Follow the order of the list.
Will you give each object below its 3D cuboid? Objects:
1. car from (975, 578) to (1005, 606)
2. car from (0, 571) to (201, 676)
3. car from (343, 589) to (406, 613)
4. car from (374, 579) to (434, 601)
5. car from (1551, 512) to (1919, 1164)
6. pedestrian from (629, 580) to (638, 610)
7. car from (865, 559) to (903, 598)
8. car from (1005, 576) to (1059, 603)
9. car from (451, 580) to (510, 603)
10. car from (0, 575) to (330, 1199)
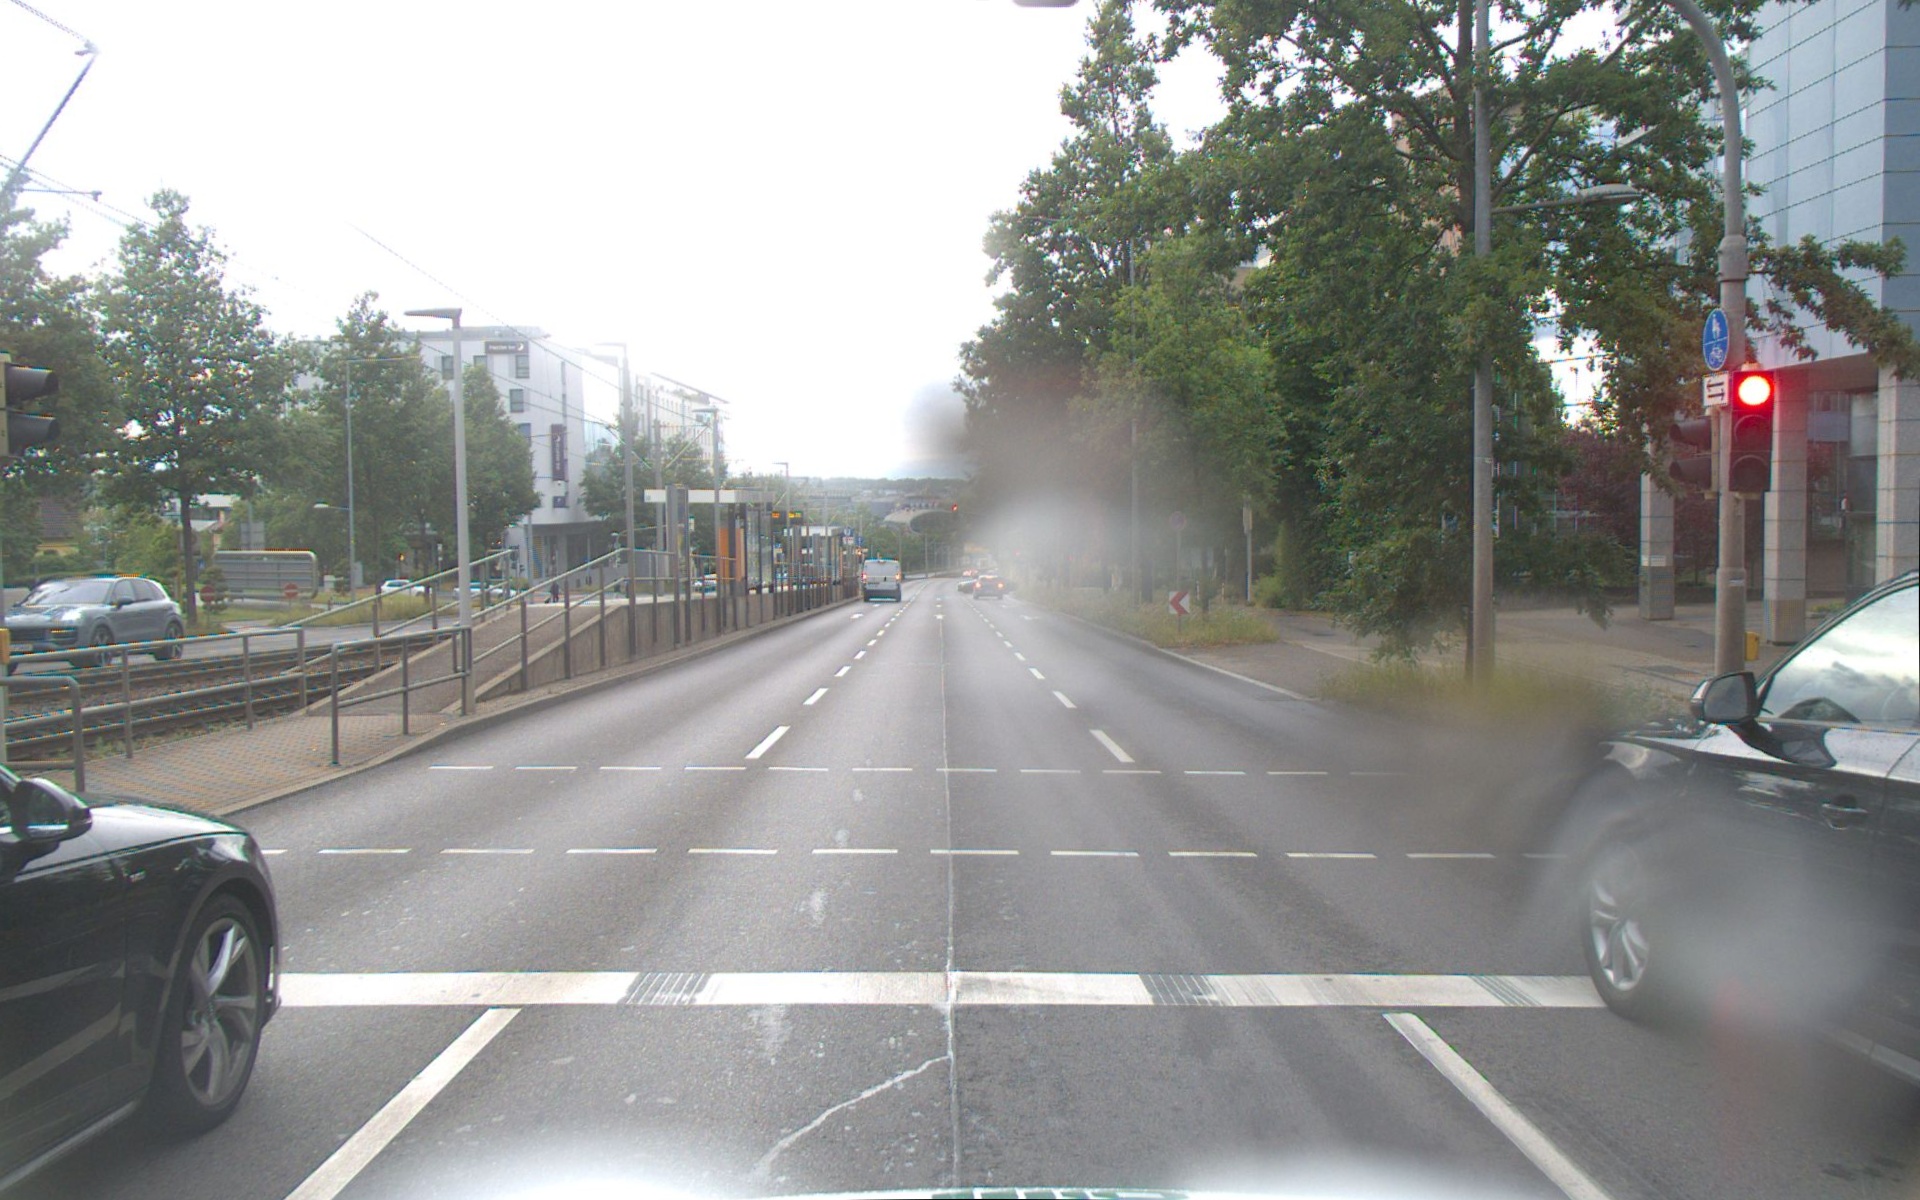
[{"bbox_3d":[1.851,-0.506,102.603,1.738,1.720,3.845,0,1,-1],"label":"car"},{"bbox_3d":[-16.148,0.376,30.768,1.954,1.749,4.838,-2,1,-3],"label":"car"},{"bbox_3d":[-34.742,0.047,98.110,3.297,1.411,1.434,0,1,16],"label":"car"},{"bbox_3d":[-41.274,-0.745,122.820,4.022,1.461,1.649,-3,1,-16],"label":"car"},{"bbox_3d":[3.304,0.598,4.429,1.781,1.641,4.470,0,1,-1],"label":"car"},{"bbox_3d":[-21.072,-0.338,106.636,0.465,1.954,0.490,0,0,-1],"label":"pedestrian"},{"bbox_3d":[-4.193,-1.178,91.686,2.051,2.089,4.605,0,1,-2],"label":"car"},{"bbox_3d":[5.566,-0.838,127.663,3.913,2.049,1.756,0,0,-9],"label":"car"},{"bbox_3d":[-34.911,-0.632,120.418,3.789,1.461,1.655,-2,1,-2],"label":"car"},{"bbox_3d":[-2.823,0.699,2.944,1.744,1.492,4.513,0,1,-1],"label":"car"}]
